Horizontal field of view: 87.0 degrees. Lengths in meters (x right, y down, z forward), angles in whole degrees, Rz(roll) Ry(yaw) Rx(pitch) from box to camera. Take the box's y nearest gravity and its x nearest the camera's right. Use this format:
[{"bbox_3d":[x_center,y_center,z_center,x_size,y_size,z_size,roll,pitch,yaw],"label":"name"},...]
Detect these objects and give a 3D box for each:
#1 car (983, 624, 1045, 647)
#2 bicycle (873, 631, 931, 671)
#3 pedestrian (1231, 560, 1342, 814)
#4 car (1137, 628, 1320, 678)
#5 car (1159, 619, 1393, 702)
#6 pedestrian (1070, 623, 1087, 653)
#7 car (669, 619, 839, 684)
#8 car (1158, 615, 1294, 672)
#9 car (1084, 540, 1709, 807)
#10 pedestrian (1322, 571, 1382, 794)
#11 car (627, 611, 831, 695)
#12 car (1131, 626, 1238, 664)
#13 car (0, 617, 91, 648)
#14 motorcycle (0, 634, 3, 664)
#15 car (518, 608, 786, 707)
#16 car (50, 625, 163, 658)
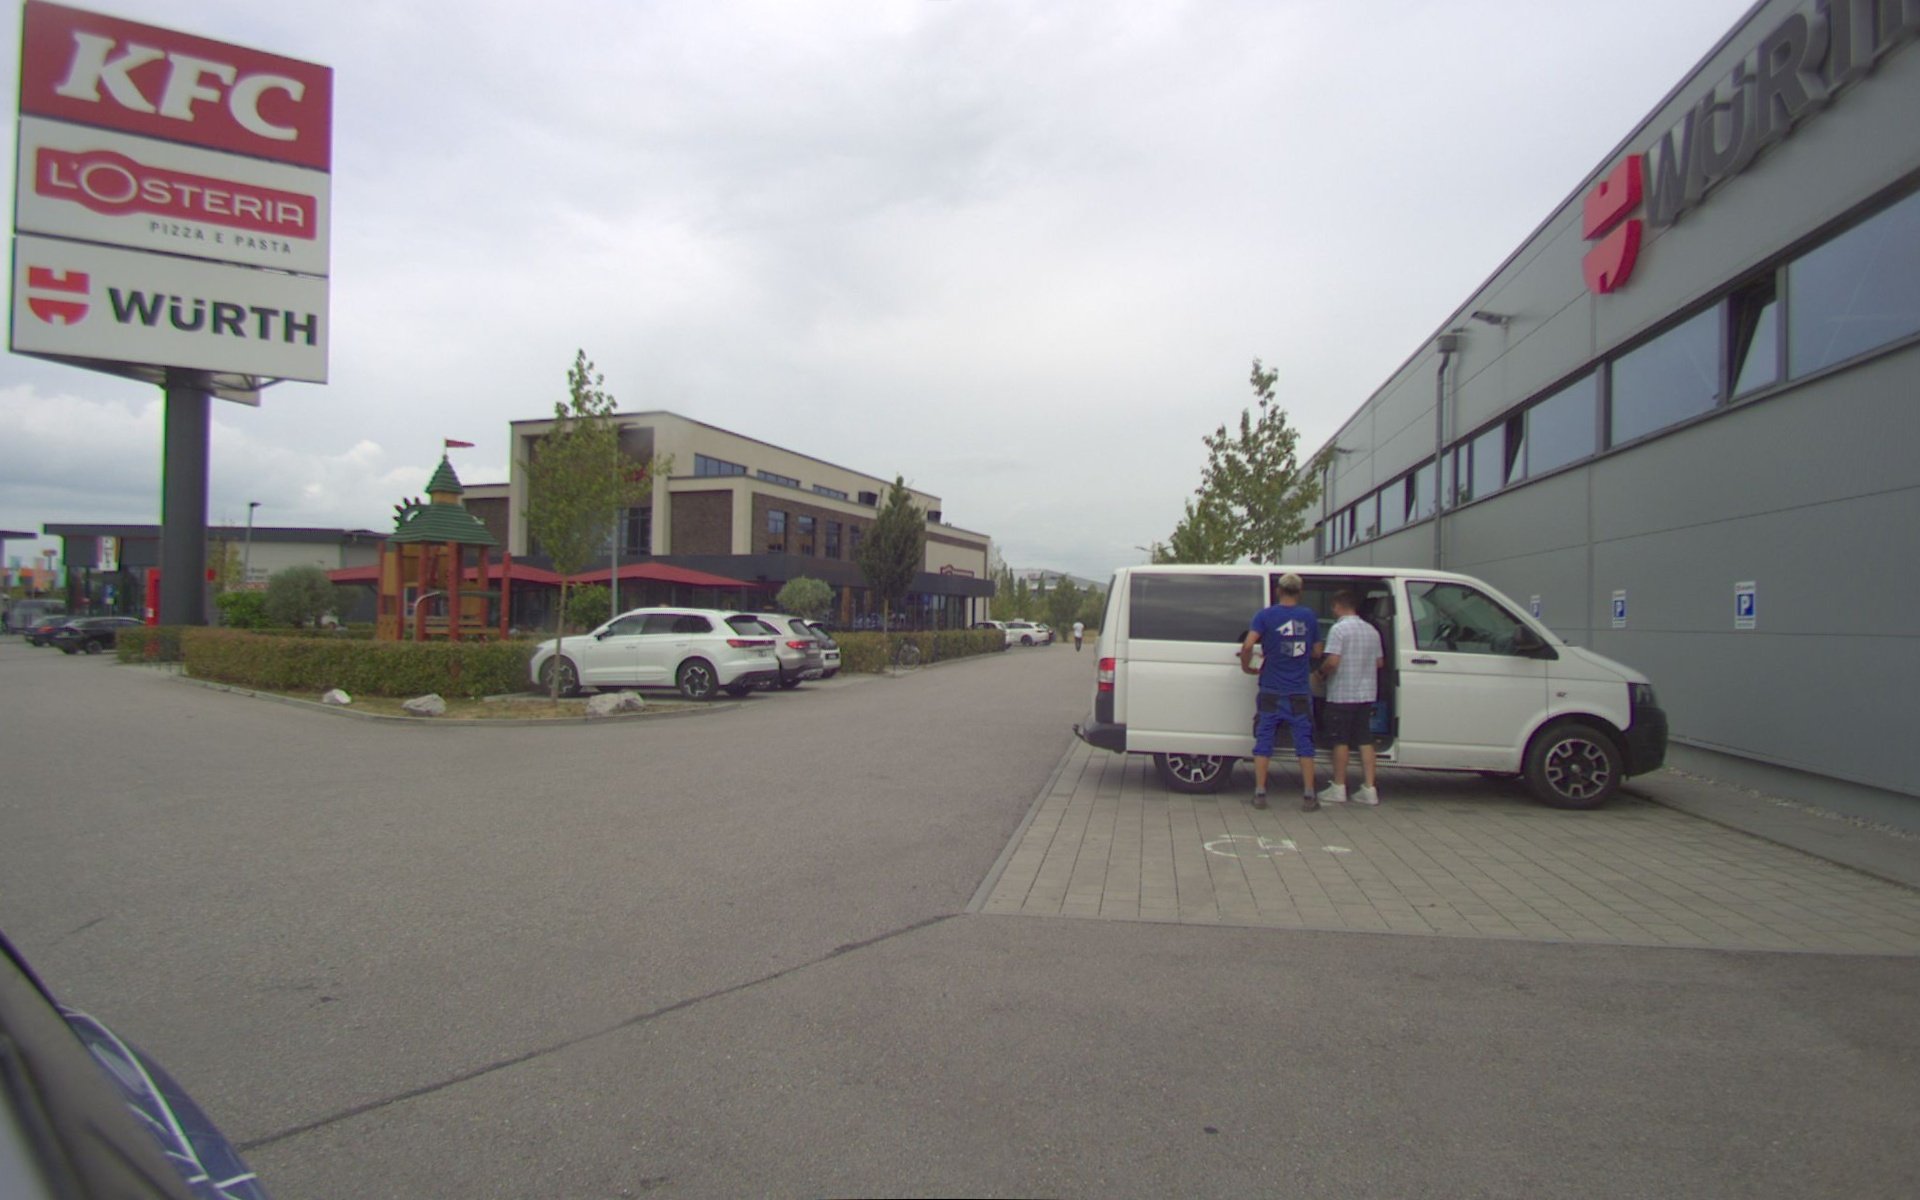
[{"bbox_3d":[3.232,2.116,60.557,3.664,1.354,1.773,0,-1,5],"label":"car"},{"bbox_3d":[-1.835,1.615,32.080,1.779,1.228,0.693,0,-1,5],"label":"bicycle"},{"bbox_3d":[2.499,0.647,7.786,0.616,1.870,0.589,0,-1,-6],"label":"pedestrian"},{"bbox_3d":[7.294,1.416,27.725,4.697,1.271,1.750,0,-1,15],"label":"car"},{"bbox_3d":[6.330,1.183,20.687,4.371,1.567,1.750,0,-1,15],"label":"car"},{"bbox_3d":[5.567,1.784,47.450,0.691,1.387,0.703,0,-2,16],"label":"pedestrian"},{"bbox_3d":[-5.211,1.298,25.960,3.945,1.577,1.999,0,-1,1],"label":"car"},{"bbox_3d":[8.406,1.352,32.336,3.954,1.719,1.995,0,-1,8],"label":"car"},{"bbox_3d":[3.502,0.572,9.031,4.705,2.029,1.932,0,-1,9],"label":"car"},{"bbox_3d":[3.146,0.643,8.152,0.357,1.715,0.583,0,-2,13],"label":"pedestrian"},{"bbox_3d":[-5.005,1.107,22.132,3.961,1.719,1.902,0,-1,14],"label":"car"},{"bbox_3d":[8.305,1.657,37.703,3.664,1.354,1.773,0,-1,5],"label":"car"},{"bbox_3d":[-57.207,1.975,63.207,1.990,1.852,3.963,0,-1,27],"label":"car"},{"bbox_3d":[-35.622,1.778,36.951,2.149,1.083,0.805,-1,-2,42],"label":"motorcycle"},{"bbox_3d":[-5.865,1.039,19.378,4.696,1.762,1.750,0,-1,14],"label":"car"},{"bbox_3d":[-36.510,1.762,43.345,1.493,1.305,3.409,0,-1,29],"label":"car"}]
